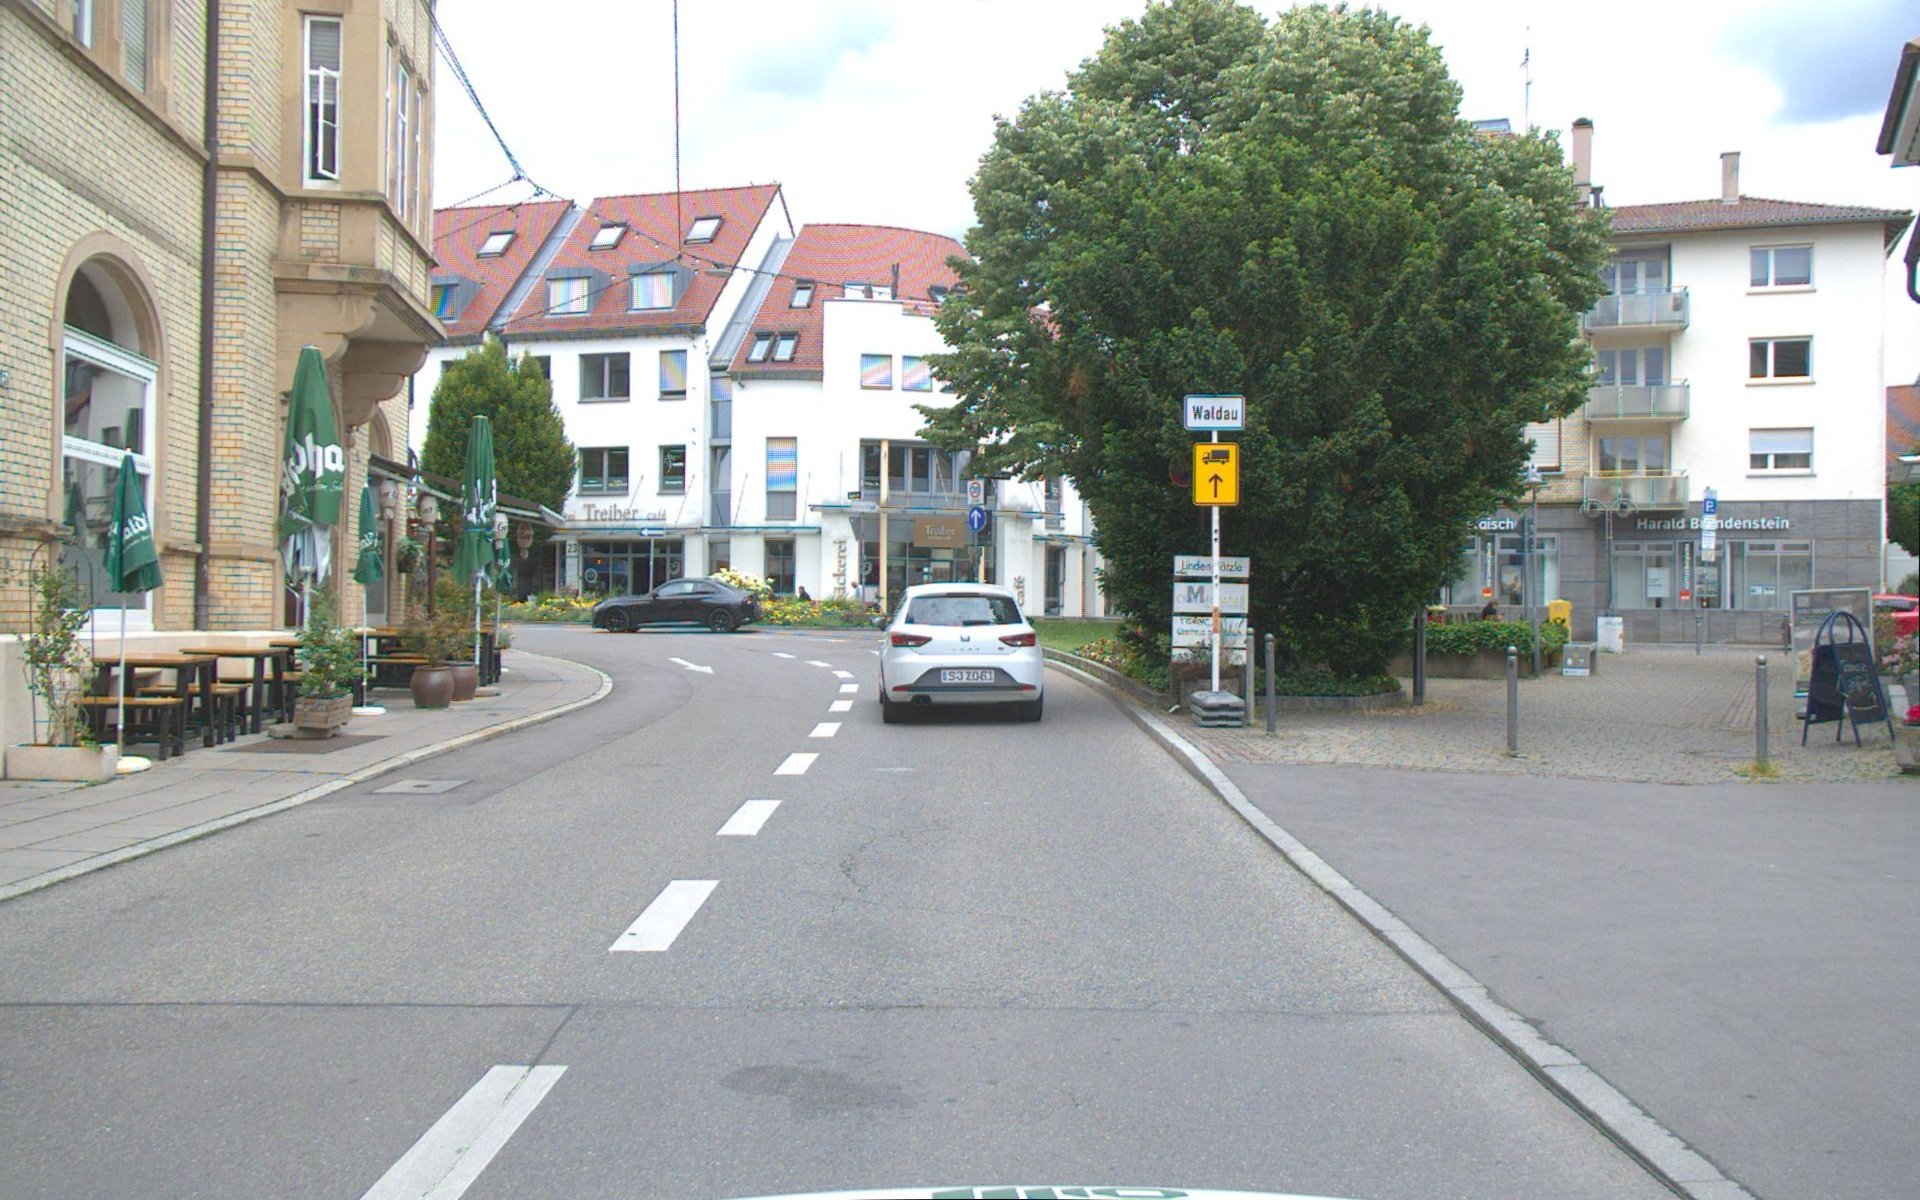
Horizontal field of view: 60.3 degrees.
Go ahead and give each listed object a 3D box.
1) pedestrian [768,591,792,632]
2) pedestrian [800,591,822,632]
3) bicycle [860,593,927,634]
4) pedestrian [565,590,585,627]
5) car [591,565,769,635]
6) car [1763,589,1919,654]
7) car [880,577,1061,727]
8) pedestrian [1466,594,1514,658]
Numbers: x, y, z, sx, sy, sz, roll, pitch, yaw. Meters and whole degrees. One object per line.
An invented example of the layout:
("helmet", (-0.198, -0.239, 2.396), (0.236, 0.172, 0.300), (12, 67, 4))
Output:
("pedestrian", (-6.095, 0.380, 55.941), (0.685, 1.355, 0.685), (0, 0, 5))
("pedestrian", (-5.015, 0.374, 55.759), (0.641, 1.365, 0.696), (0, 0, 5))
("bicycle", (-2.088, 0.420, 51.826), (1.932, 1.261, 0.744), (1, 0, 17))
("pedestrian", (-13.533, 0.300, 58.135), (0.480, 1.293, 0.502), (0, 0, 18))
("car", (-7.309, 0.002, 43.538), (4.269, 1.704, 2.042), (1, 0, 1))
("car", (23.928, 0.570, 43.884), (4.276, 1.574, 2.126), (2, 0, 12))
("car", (0.013, 0.504, 18.726), (1.807, 1.459, 3.998), (1, 1, -3))
("pedestrian", (12.029, 0.586, 37.560), (0.836, 1.404, 0.976), (1, 0, 4))
